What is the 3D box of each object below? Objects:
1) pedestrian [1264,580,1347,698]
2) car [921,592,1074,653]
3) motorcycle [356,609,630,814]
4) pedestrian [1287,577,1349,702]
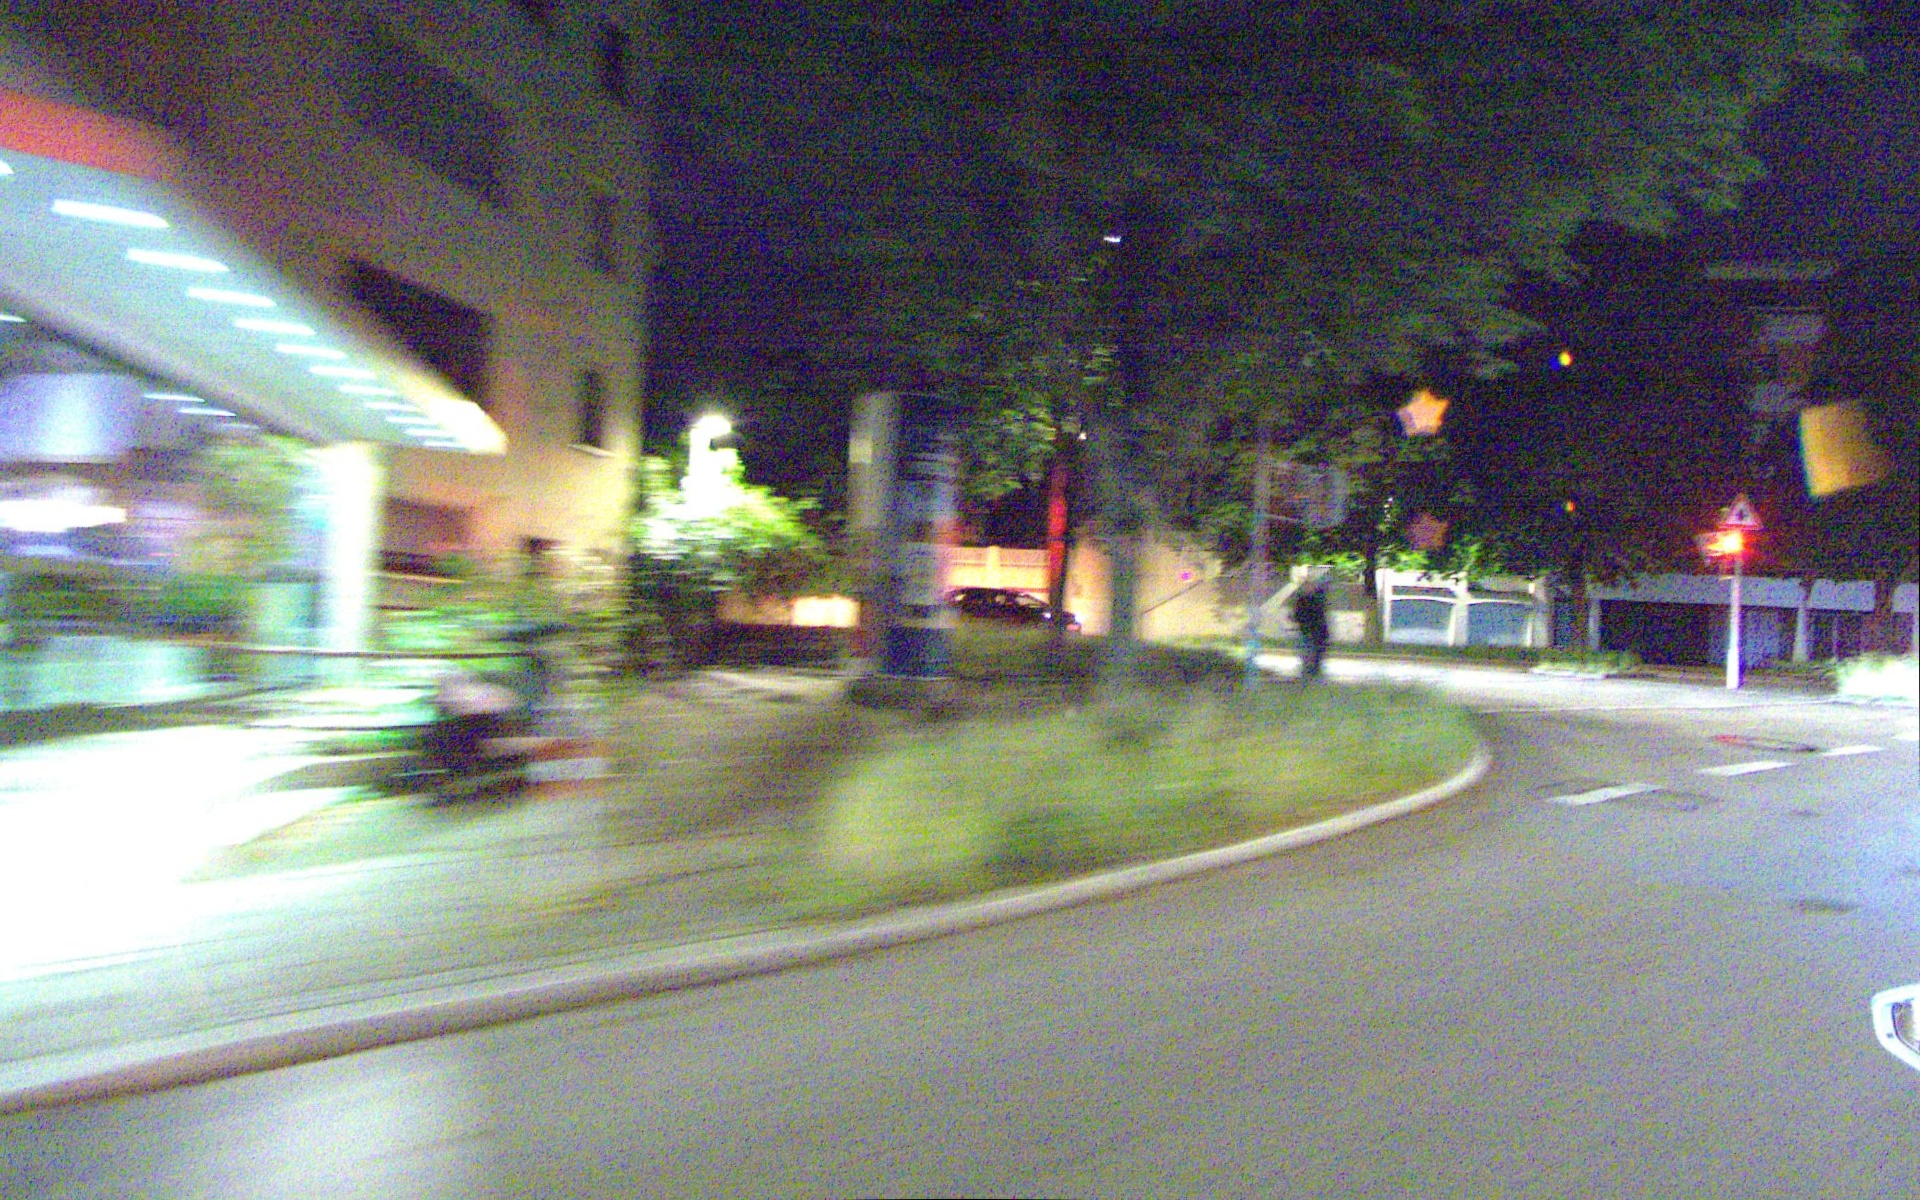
[{"bbox_3d":[5.496,0.604,15.998,0.719,1.793,0.959,1,2,-26],"label":"pedestrian"},{"bbox_3d":[0.999,0.597,28.347,4.231,1.449,1.720,3,2,45],"label":"car"},{"bbox_3d":[-3.280,0.705,7.319,0.606,1.246,2.041,2,1,16],"label":"motorcycle"},{"bbox_3d":[5.344,0.575,15.019,0.514,1.816,0.691,2,1,-11],"label":"pedestrian"}]
